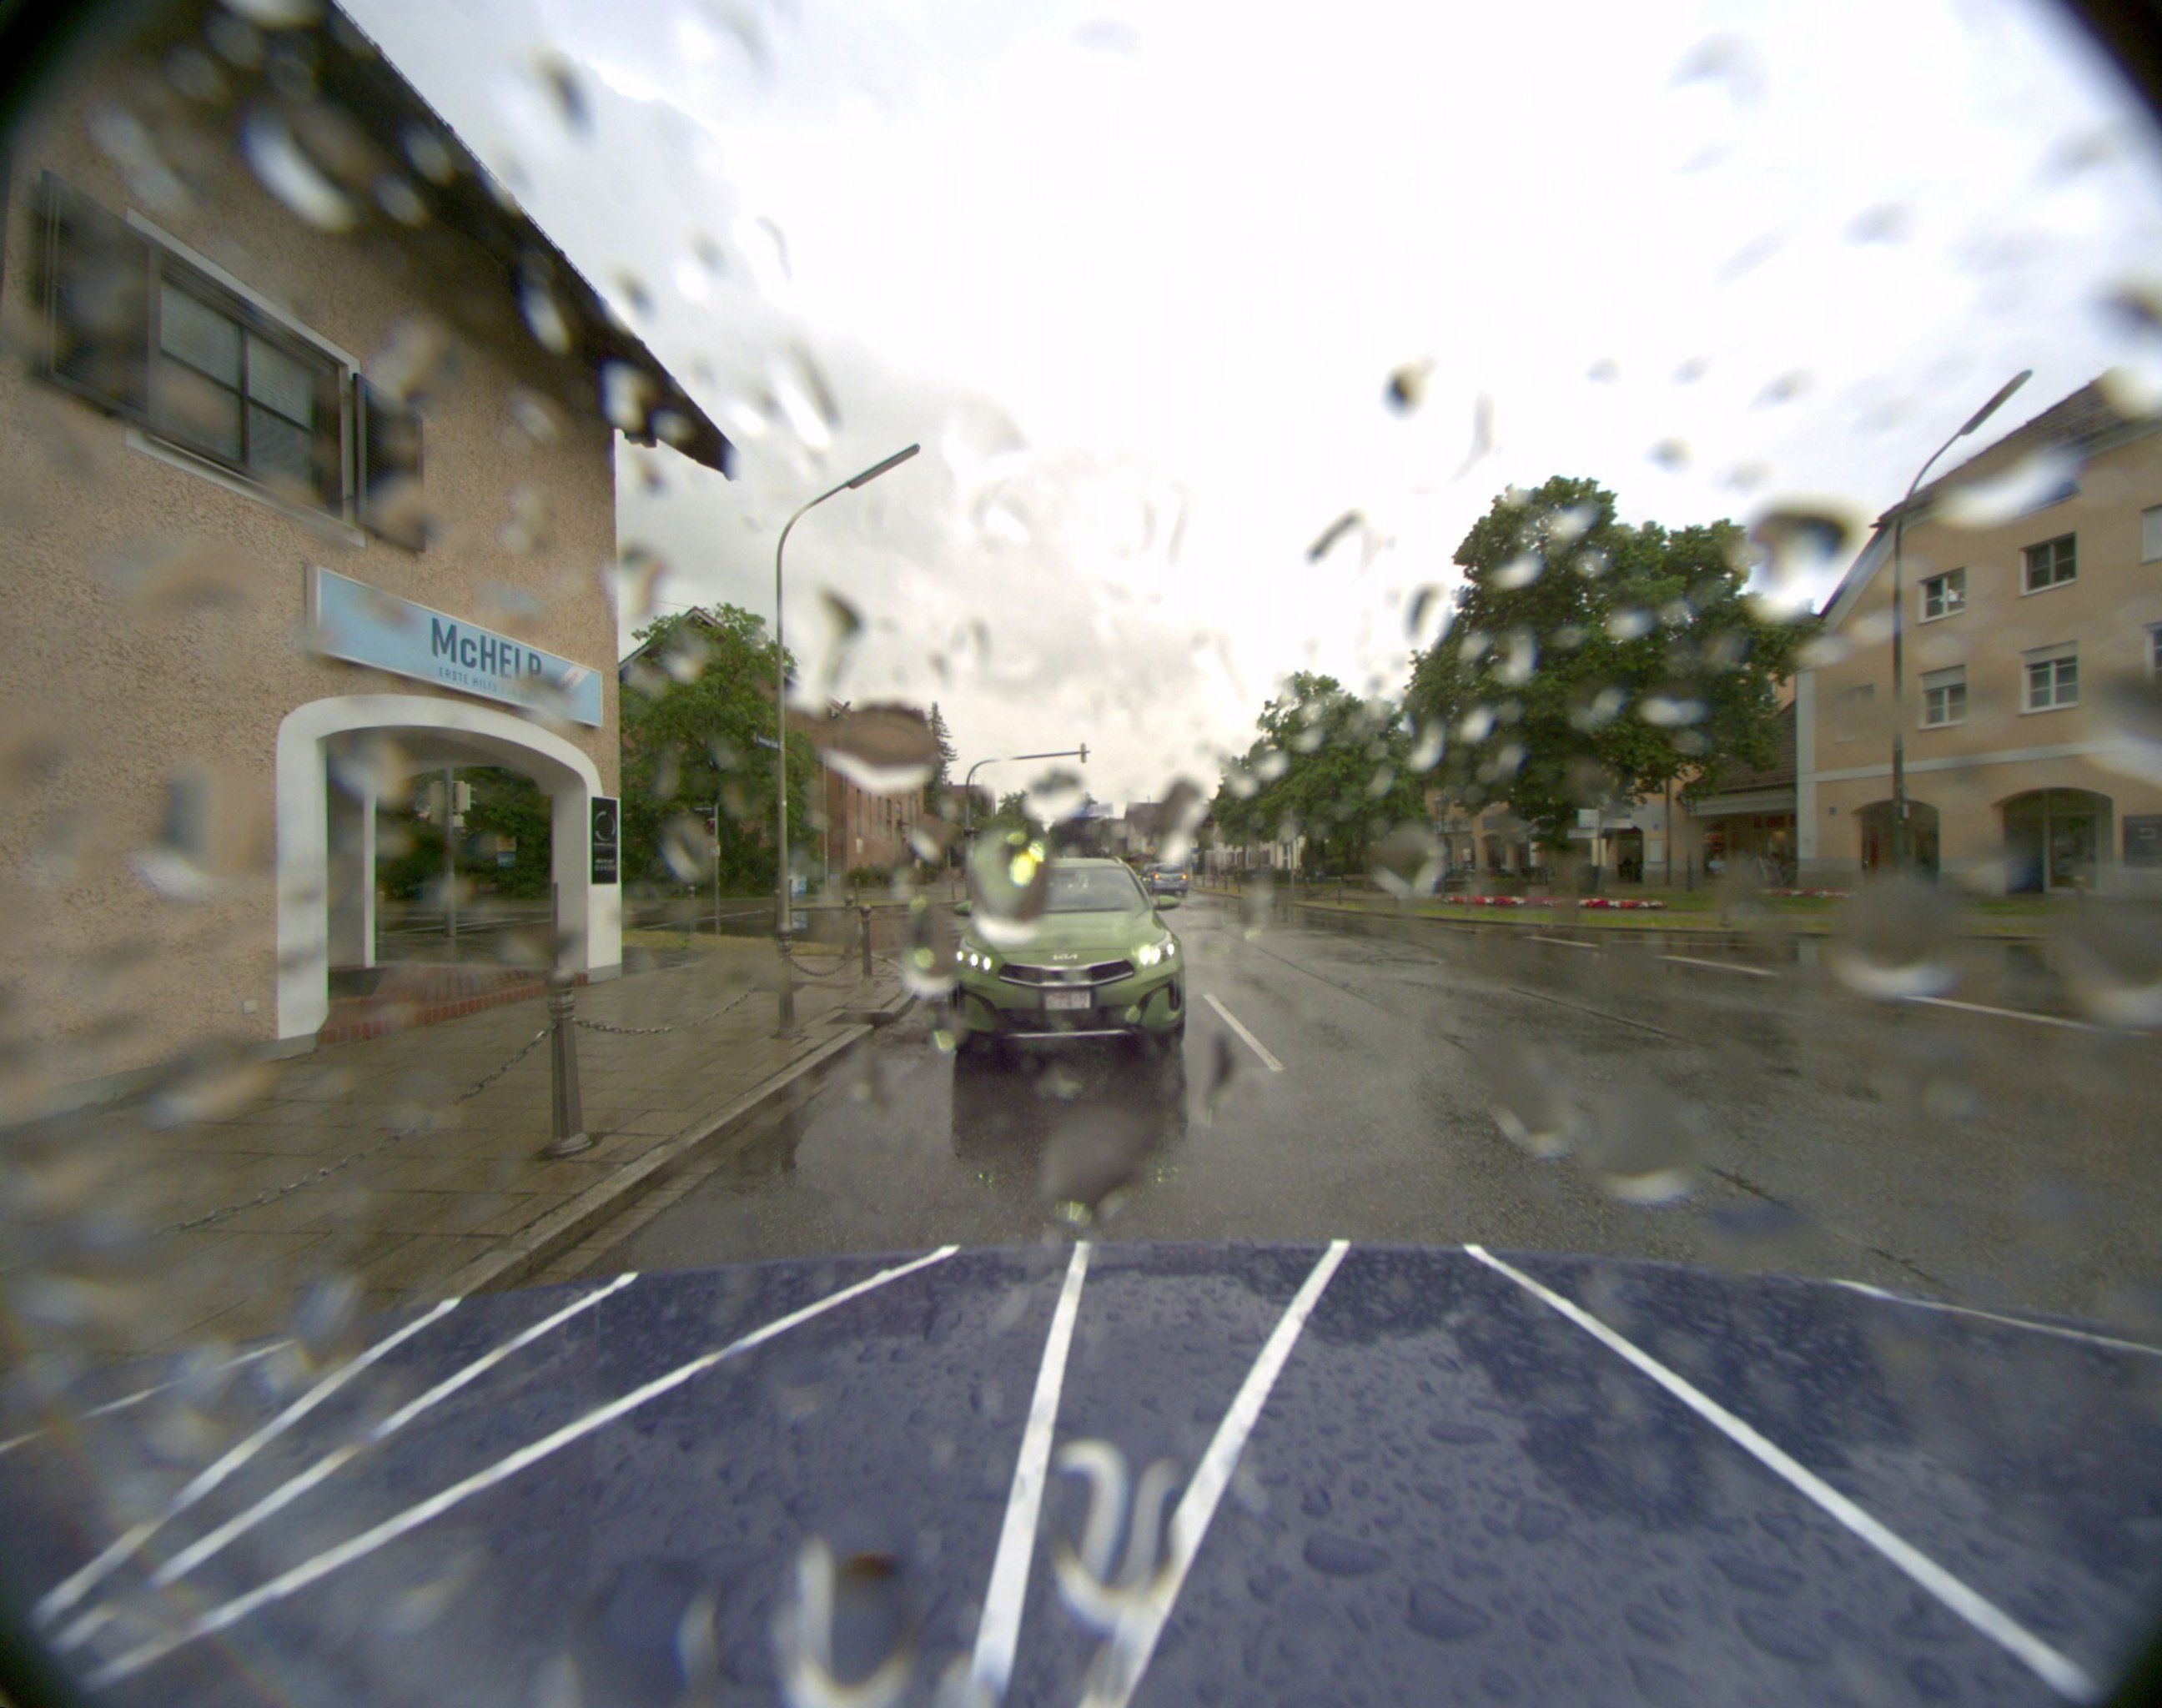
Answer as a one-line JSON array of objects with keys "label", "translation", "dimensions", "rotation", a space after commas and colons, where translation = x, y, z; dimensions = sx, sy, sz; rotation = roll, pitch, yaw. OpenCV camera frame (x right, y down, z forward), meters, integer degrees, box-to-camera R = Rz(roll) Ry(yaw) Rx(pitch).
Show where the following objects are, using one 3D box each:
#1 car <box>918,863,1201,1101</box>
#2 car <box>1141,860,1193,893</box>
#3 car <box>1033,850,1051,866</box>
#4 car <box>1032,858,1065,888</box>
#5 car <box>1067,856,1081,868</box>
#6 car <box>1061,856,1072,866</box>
[{"label": "car", "translation": [-0.113, 0.884, 7.133], "dimensions": [1.872, 1.505, 4.105], "rotation": [-1, 0, 1]}, {"label": "car", "translation": [4.069, 1.022, 36.485], "dimensions": [1.873, 1.447, 4.103], "rotation": [-1, 0, -2]}, {"label": "car", "translation": [-5.265, 0.521, 102.375], "dimensions": [2.218, 1.977, 4.952], "rotation": [0, 0, -5]}, {"label": "car", "translation": [-1.797, 0.980, 41.733], "dimensions": [1.736, 1.489, 4.609], "rotation": [0, 0, -3]}, {"label": "car", "translation": [-1.029, 1.102, 108.316], "dimensions": [1.810, 1.677, 3.998], "rotation": [-1, 0, -4]}, {"label": "car", "translation": [-2.549, 1.224, 135.490], "dimensions": [1.810, 1.677, 3.998], "rotation": [-1, 0, -4]}]
